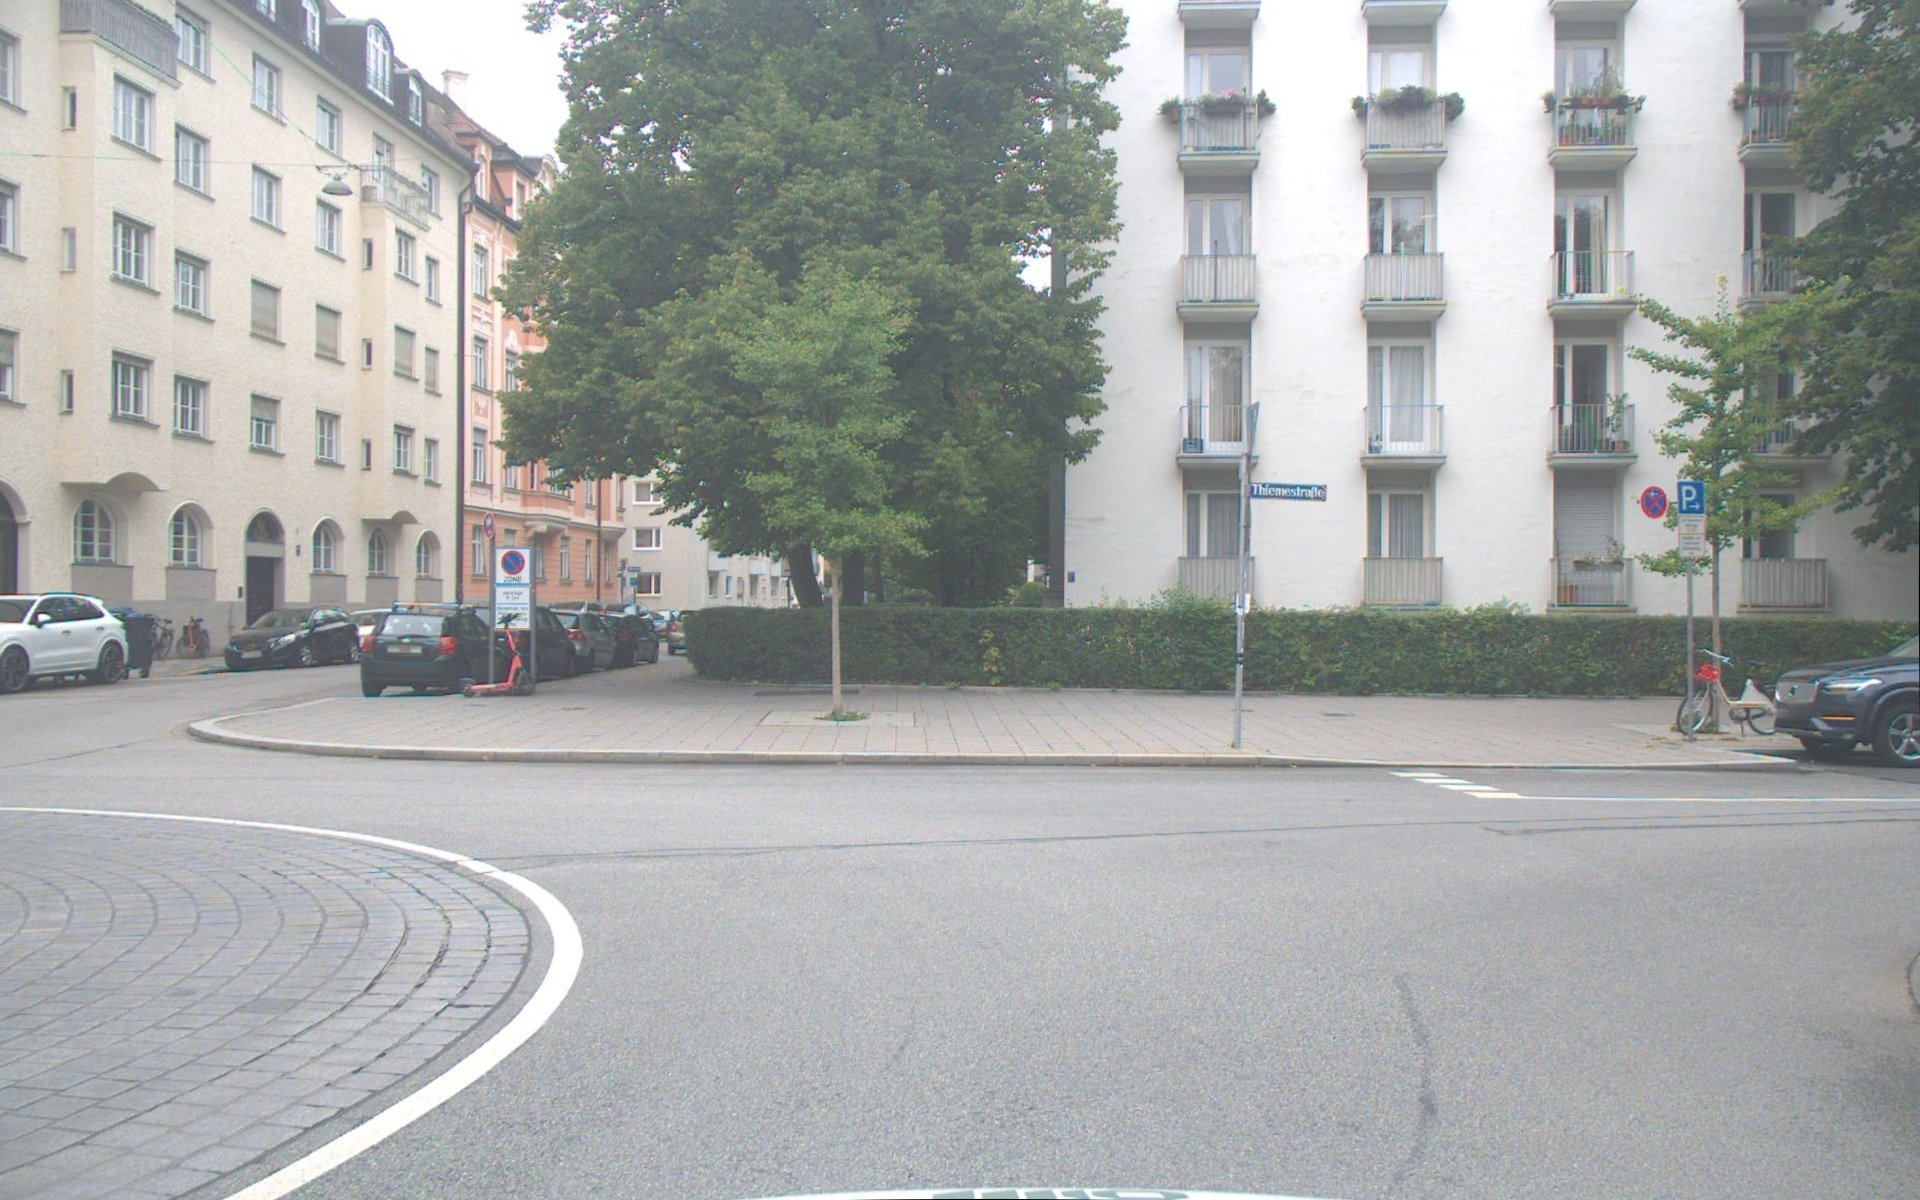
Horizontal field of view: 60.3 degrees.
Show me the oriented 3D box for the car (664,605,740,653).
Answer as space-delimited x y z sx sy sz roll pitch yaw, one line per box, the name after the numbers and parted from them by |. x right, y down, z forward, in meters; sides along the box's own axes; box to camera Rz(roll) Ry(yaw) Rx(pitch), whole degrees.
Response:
-8.619 0.952 55.559 1.797 1.531 4.115 -1 0 1 | car

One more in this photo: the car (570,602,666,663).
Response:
-9.132 0.846 44.449 1.757 1.531 4.114 -1 0 -1 | car

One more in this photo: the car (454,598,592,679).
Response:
-8.912 0.755 34.063 1.757 1.531 4.234 -1 0 -1 | car

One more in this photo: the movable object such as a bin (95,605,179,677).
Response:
-16.973 0.829 34.130 1.068 1.450 1.174 0 0 6 | movable object such as a bin

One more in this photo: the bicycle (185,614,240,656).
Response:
-20.047 0.930 44.399 0.551 1.067 1.831 0 0 3 | bicycle

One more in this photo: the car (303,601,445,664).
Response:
-15.859 0.841 44.997 1.934 1.608 4.411 1 0 5 | car

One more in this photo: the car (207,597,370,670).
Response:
-16.171 0.776 40.120 1.935 1.644 4.713 1 0 1 | car

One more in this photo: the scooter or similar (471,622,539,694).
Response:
-7.128 0.909 25.918 0.985 1.107 0.388 1 -1 -24 | scooter or similar

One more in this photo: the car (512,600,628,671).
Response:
-9.036 0.794 38.655 1.757 1.531 4.114 -1 0 -1 | car

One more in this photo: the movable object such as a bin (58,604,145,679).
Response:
-17.083 0.817 32.943 1.068 1.450 1.174 0 0 6 | movable object such as a bin

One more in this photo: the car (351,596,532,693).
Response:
-8.913 0.716 28.798 1.782 1.531 4.421 -1 0 -1 | car

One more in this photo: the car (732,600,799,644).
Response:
-7.694 0.837 65.806 1.796 1.663 3.822 -1 0 7 | car

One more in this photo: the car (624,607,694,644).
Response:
-13.635 1.132 75.197 1.933 1.608 4.411 1 0 6 | car

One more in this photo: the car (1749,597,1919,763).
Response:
12.035 0.917 19.219 4.797 1.823 2.000 0 -1 -1 | car

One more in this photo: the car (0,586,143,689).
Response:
-16.906 0.620 29.574 1.934 1.730 4.842 1 0 3 | car

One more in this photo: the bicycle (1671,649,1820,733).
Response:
10.337 1.185 21.773 1.789 1.067 0.491 0 0 -7 | bicycle

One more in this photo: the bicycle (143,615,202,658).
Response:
-20.170 0.920 42.382 0.551 1.067 1.831 0 0 3 | bicycle

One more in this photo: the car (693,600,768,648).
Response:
-8.288 0.833 60.164 1.796 1.663 4.117 -1 0 5 | car
